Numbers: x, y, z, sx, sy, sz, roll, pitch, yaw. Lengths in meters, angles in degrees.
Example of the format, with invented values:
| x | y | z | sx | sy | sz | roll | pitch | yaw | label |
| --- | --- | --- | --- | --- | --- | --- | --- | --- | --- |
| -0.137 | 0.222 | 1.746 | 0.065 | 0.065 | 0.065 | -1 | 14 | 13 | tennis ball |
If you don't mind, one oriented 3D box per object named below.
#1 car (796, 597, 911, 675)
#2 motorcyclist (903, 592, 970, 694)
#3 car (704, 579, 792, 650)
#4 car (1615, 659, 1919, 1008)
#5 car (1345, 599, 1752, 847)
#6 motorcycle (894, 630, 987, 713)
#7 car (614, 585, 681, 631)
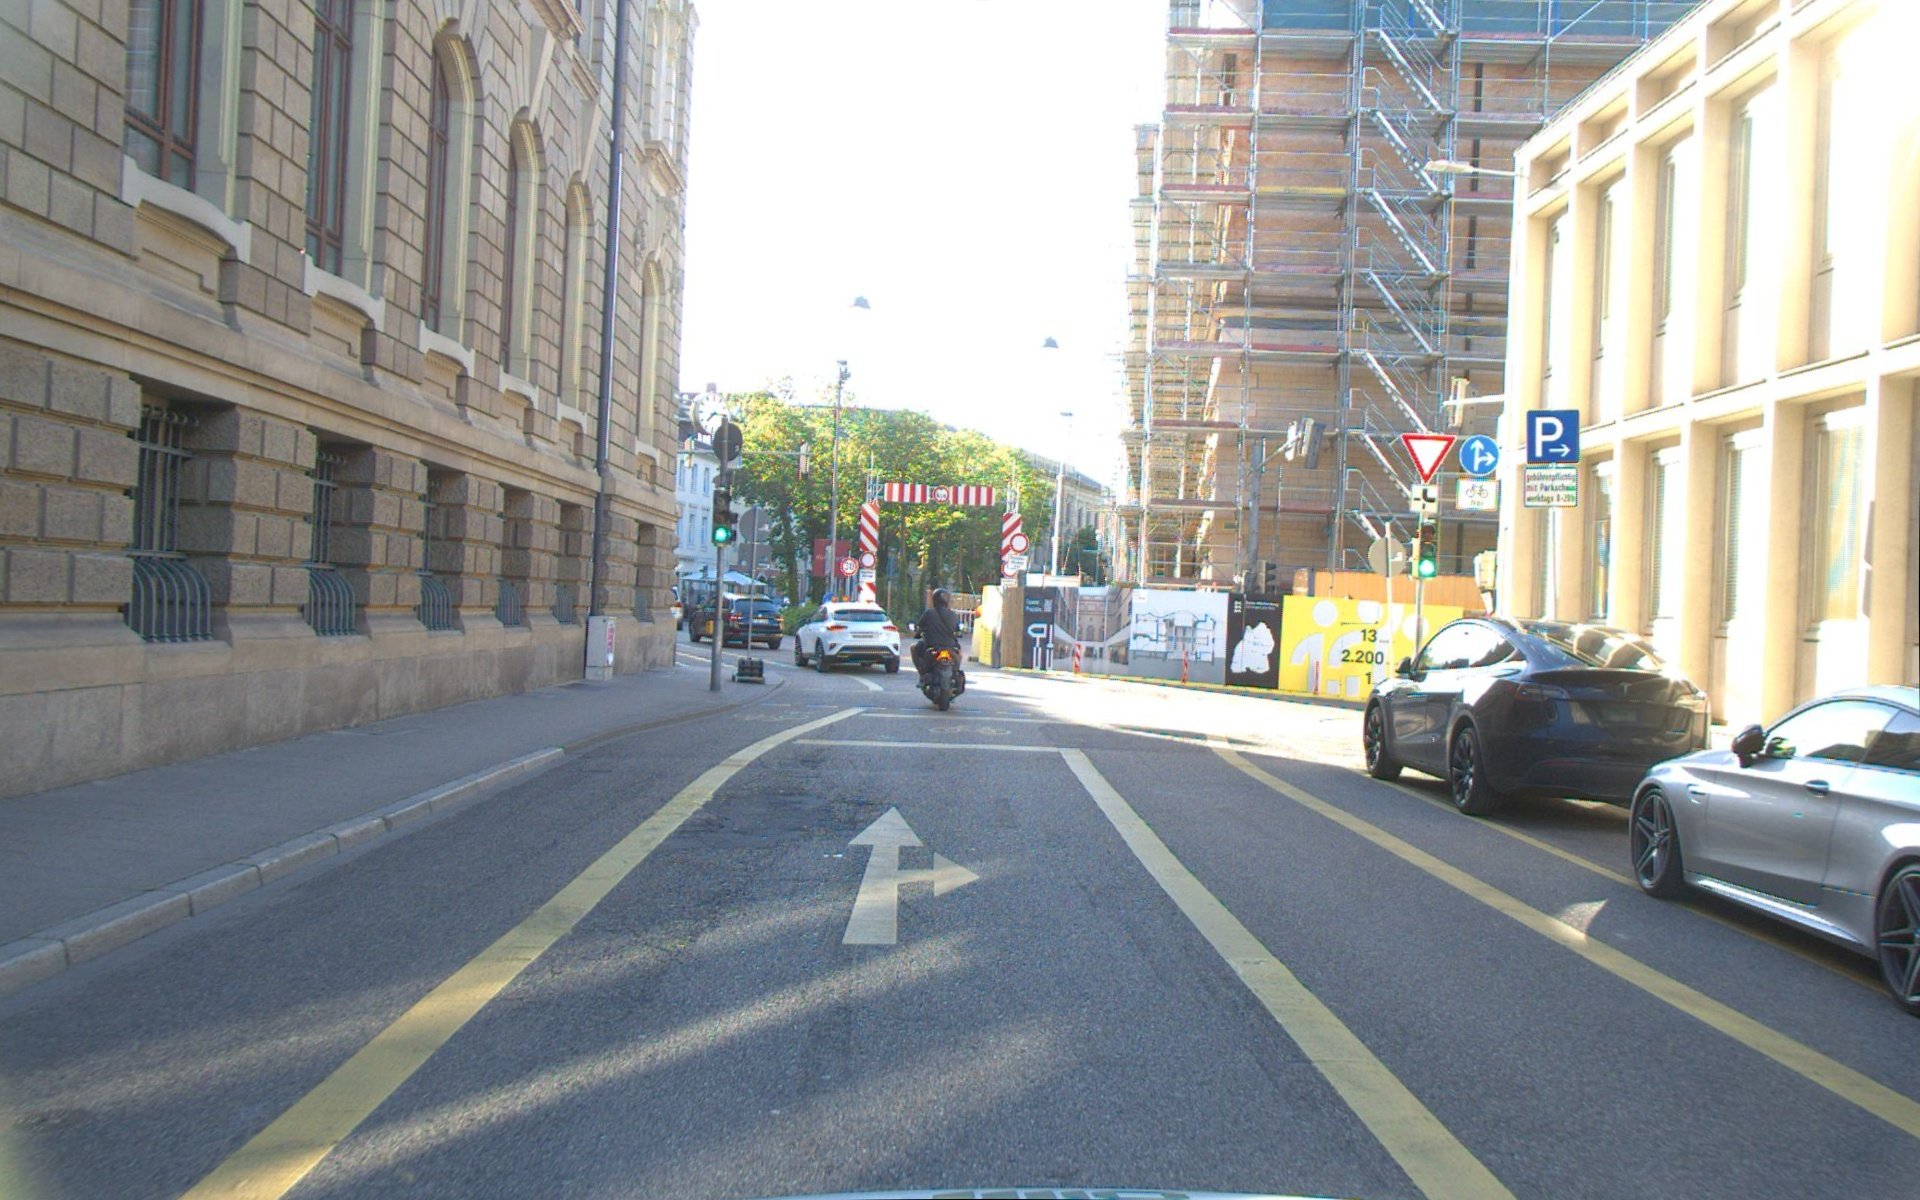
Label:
| x | y | z | sx | sy | sz | roll | pitch | yaw | label |
| --- | --- | --- | --- | --- | --- | --- | --- | --- | --- |
| -2.486 | 0.777 | 37.553 | 1.792 | 1.568 | 4.247 | 3 | -1 | -14 | car |
| -0.343 | 0.627 | 24.037 | 0.853 | 1.452 | 0.453 | 2 | -1 | -16 | motorcyclist |
| -6.056 | 0.414 | 46.995 | 1.801 | 1.870 | 3.981 | 2 | -1 | -17 | car |
| 4.983 | 1.089 | 8.096 | 1.787 | 1.423 | 4.479 | 4 | -1 | 1 | car |
| 5.016 | 0.935 | 14.892 | 1.788 | 1.728 | 4.665 | 4 | 0 | -2 | car |
| -0.308 | 1.014 | 23.874 | 0.858 | 1.129 | 1.831 | 2 | -1 | -16 | motorcycle |
| -12.394 | 0.283 | 65.342 | 1.964 | 1.693 | 4.333 | 0 | 1 | -20 | car |
